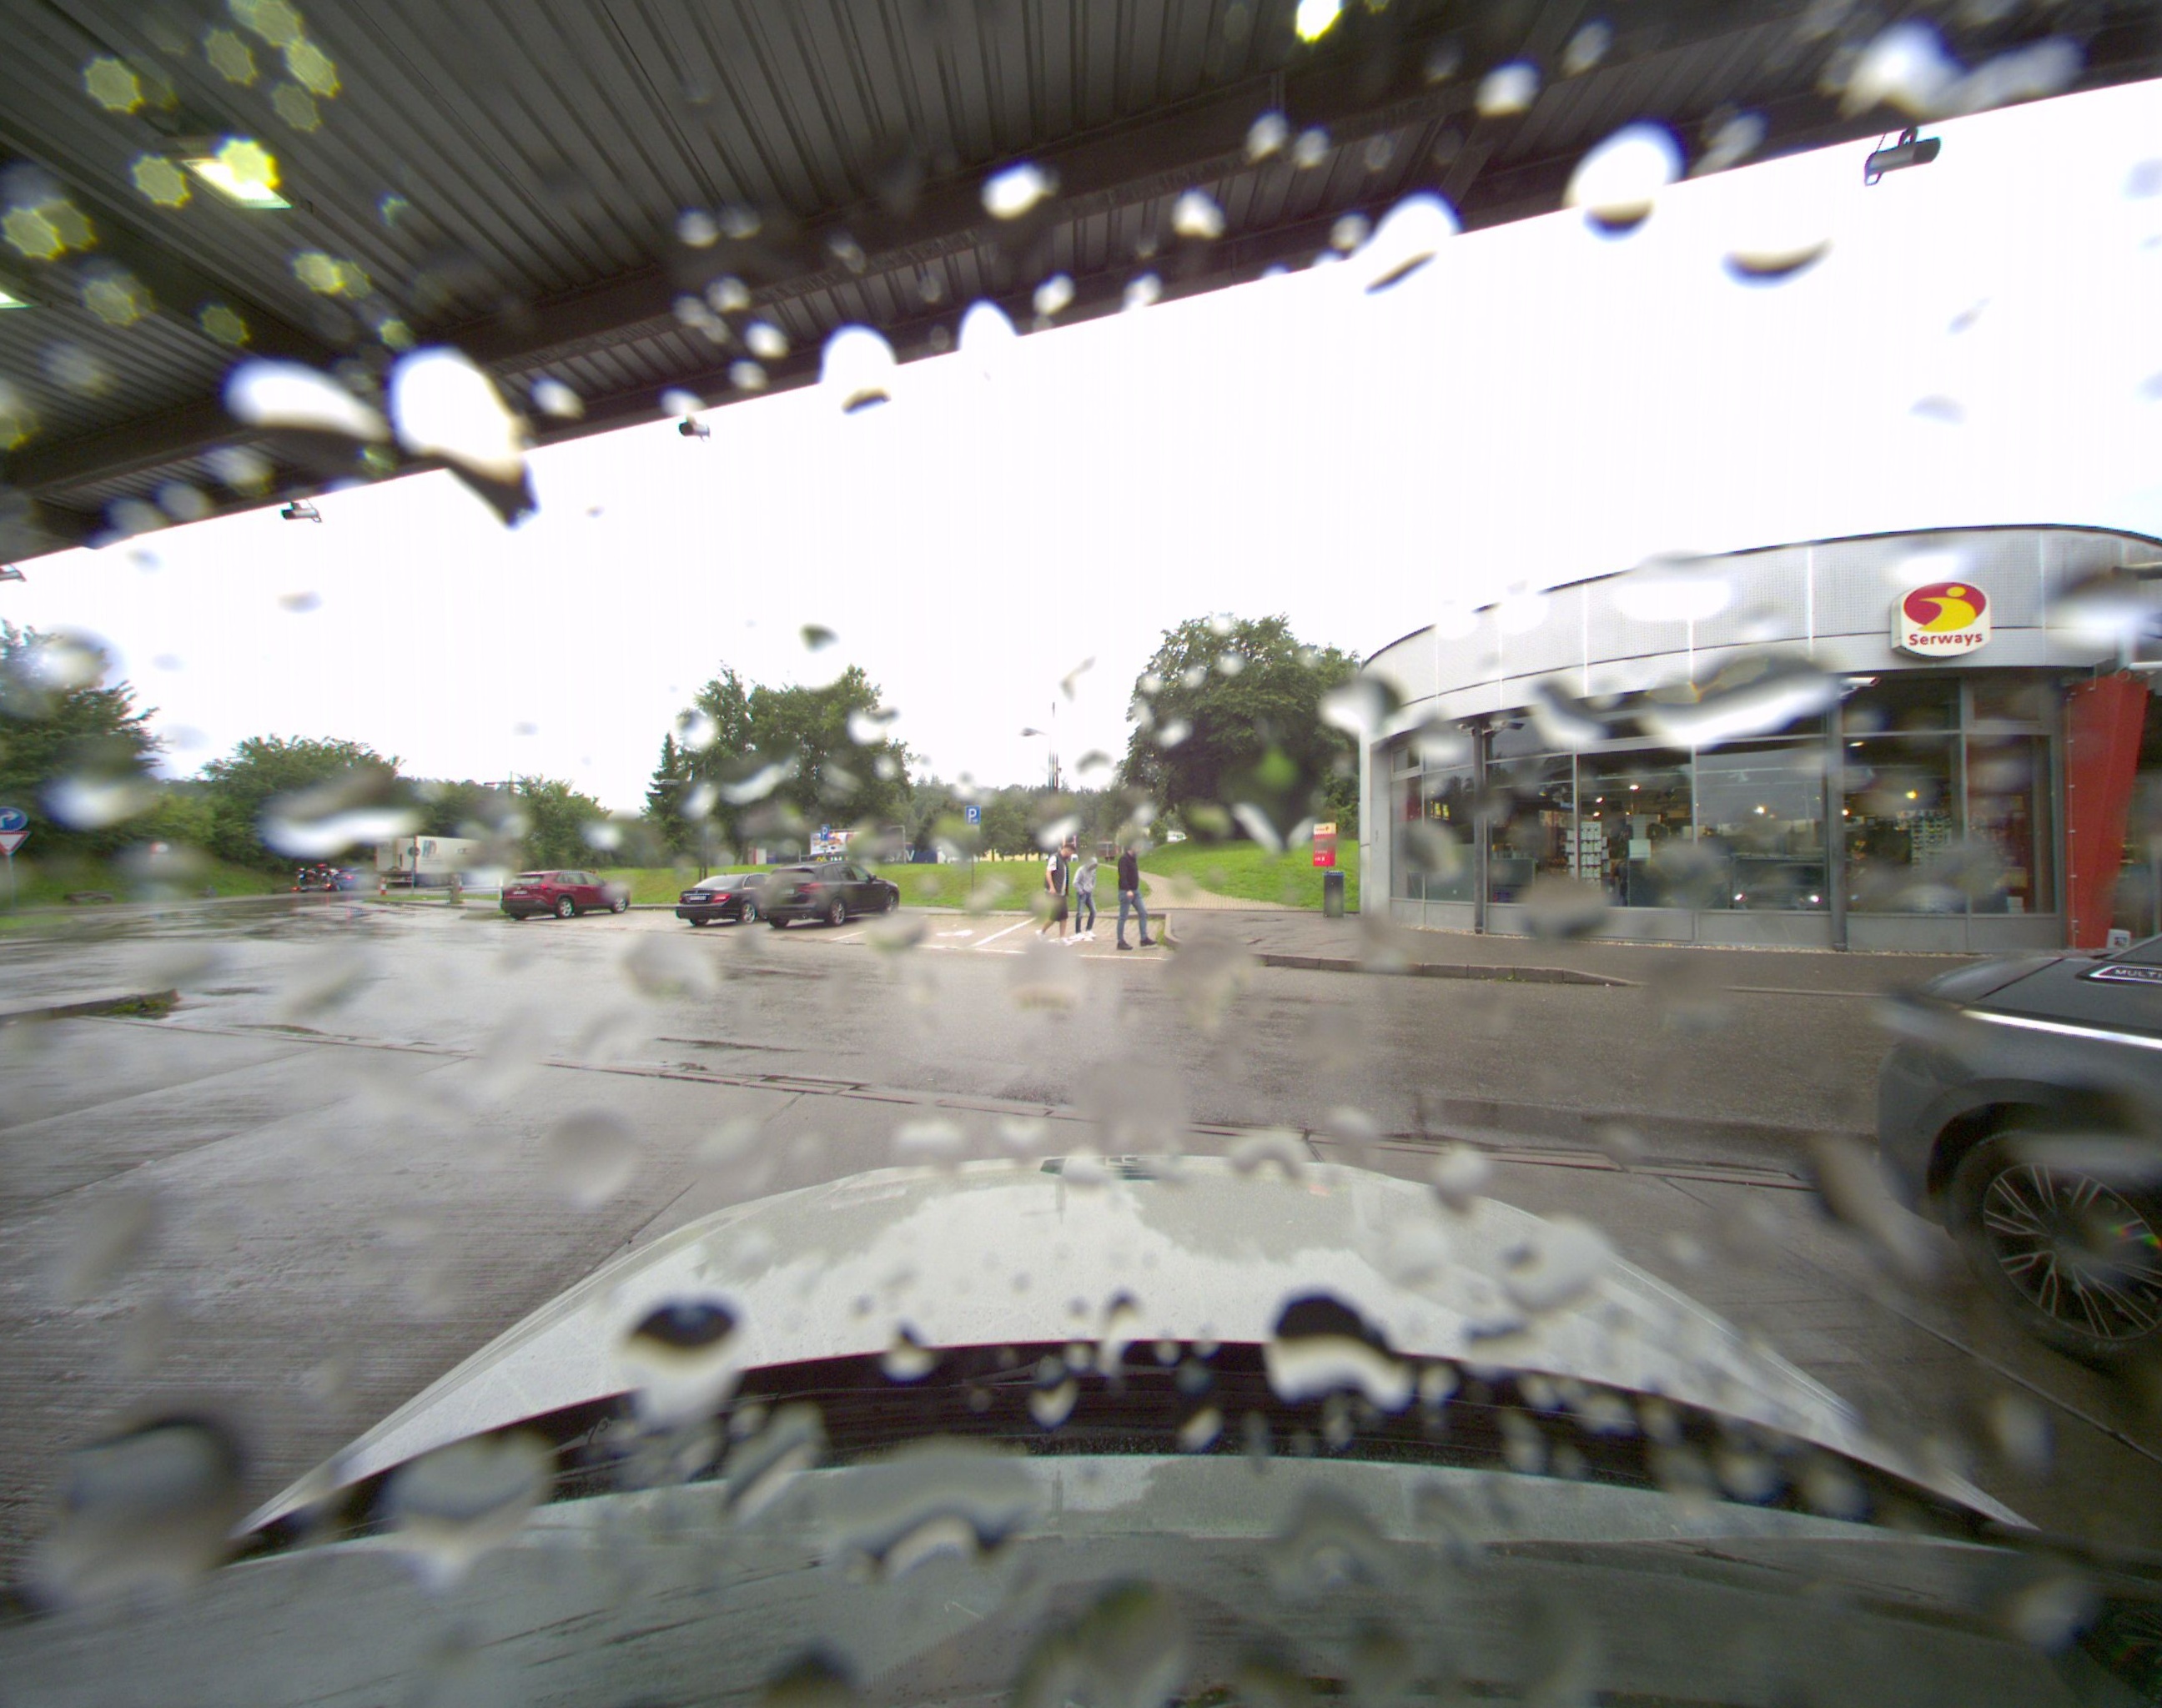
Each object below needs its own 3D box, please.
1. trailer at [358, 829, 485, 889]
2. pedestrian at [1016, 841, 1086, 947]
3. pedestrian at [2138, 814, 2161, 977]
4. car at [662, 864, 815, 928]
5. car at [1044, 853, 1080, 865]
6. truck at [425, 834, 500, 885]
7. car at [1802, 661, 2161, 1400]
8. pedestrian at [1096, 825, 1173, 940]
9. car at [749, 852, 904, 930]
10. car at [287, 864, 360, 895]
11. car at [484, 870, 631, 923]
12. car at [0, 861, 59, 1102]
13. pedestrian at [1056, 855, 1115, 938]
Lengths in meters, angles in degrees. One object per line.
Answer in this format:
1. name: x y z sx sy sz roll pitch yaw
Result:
1. trailer: -54.882 0.442 68.473 3.466 4.557 13.827 0 -1 -18
2. pedestrian: -0.545 0.704 14.847 0.963 1.848 0.778 -2 0 30
3. pedestrian: 11.768 0.434 8.417 0.786 1.734 0.845 -2 -1 37
4. car: -9.614 1.142 23.290 1.871 1.565 4.200 -2 0 13
5. car: -3.174 0.805 134.069 5.376 2.013 2.468 -1 0 21
6. truck: -57.104 0.516 75.414 3.467 4.557 6.694 0 -1 -18
7. car: 3.718 0.458 1.221 1.809 1.948 4.002 -1 0 2
8. pedestrian: 0.914 0.467 13.839 0.989 1.864 0.804 -2 0 30
9. car: -6.613 0.892 21.732 1.871 1.828 4.429 -2 0 13
10. car: -49.194 1.599 53.014 1.934 1.838 4.361 -1 0 -20
11. car: -18.155 1.423 28.514 1.873 1.596 4.364 -2 0 8
12. car: -7.836 0.830 3.048 1.810 1.565 4.999 0 0 -2
13. pedestrian: 0.089 0.813 15.884 0.880 1.550 0.665 -2 0 31
